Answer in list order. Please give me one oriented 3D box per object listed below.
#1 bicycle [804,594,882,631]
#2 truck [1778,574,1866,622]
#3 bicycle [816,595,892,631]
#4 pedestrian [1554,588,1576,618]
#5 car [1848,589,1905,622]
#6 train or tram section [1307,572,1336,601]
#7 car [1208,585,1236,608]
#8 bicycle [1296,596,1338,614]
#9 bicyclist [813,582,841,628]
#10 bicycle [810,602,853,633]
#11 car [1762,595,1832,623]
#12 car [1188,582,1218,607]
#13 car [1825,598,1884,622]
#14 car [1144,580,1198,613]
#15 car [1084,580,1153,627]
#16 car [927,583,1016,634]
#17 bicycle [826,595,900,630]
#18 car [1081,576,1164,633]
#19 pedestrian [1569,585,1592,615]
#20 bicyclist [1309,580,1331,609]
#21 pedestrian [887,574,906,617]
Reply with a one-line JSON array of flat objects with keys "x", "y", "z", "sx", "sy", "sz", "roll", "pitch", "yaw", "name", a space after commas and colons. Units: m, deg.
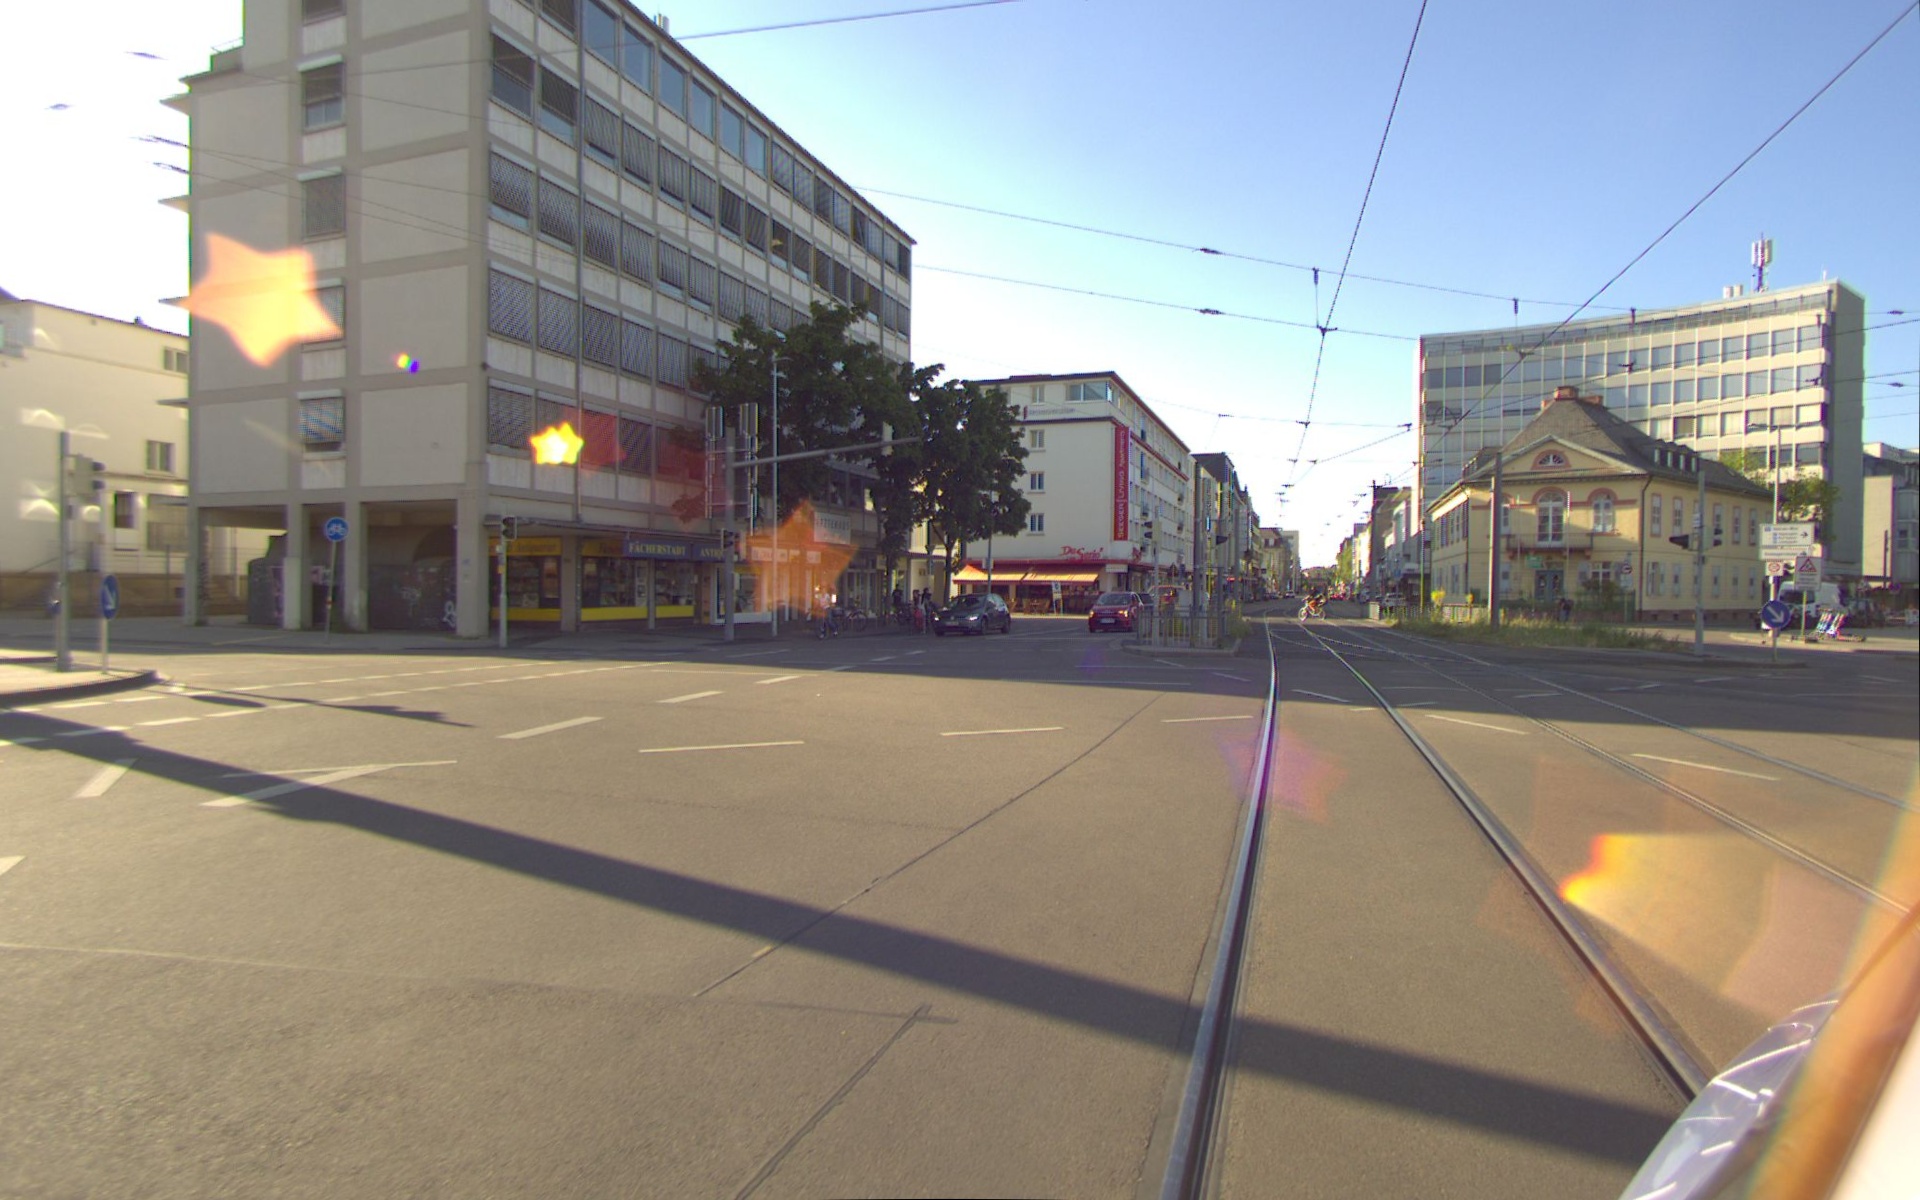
[{"x": -4.132, "y": 0.435, "z": 35.815, "sx": 2.598, "sy": 1.158, "sz": 0.749, "roll": 3, "pitch": -1, "yaw": 10, "name": "bicycle"}, {"x": 48.561, "y": -0.082, "z": 56.979, "sx": 5.529, "sy": 2.581, "sz": 2.302, "roll": 1, "pitch": -1, "yaw": -33, "name": "truck"}, {"x": -3.863, "y": 0.461, "z": 36.981, "sx": 2.598, "sy": 1.158, "sz": 0.749, "roll": 3, "pitch": -1, "yaw": 10, "name": "bicycle"}, {"x": 33.491, "y": 0.173, "z": 56.005, "sx": 0.801, "sy": 1.663, "sz": 0.687, "roll": 1, "pitch": -1, "yaw": -12, "name": "pedestrian"}, {"x": 56.714, "y": 0.358, "z": 62.617, "sx": 3.688, "sy": 2.006, "sz": 1.715, "roll": 1, "pitch": -1, "yaw": -33, "name": "car"}, {"x": 50.701, "y": -1.897, "z": 142.116, "sx": 3.669, "sy": 3.881, "sz": 13.274, "roll": 0, "pitch": 1, "yaw": 20, "name": "train or tram section"}, {"x": 25.214, "y": -0.328, "z": 97.372, "sx": 1.976, "sy": 2.039, "sz": 4.836, "roll": 0, "pitch": -1, "yaw": 22, "name": "car"}, {"x": 18.769, "y": 0.267, "z": 53.259, "sx": 1.984, "sy": 0.960, "sz": 0.713, "roll": 0, "pitch": -1, "yaw": 43, "name": "bicycle"}, {"x": -4.171, "y": 0.154, "z": 31.717, "sx": 0.661, "sy": 1.442, "sz": 0.678, "roll": 0, "pitch": -1, "yaw": 15, "name": "bicyclist"}, {"x": -4.060, "y": 0.541, "z": 32.080, "sx": 0.661, "sy": 0.952, "sz": 2.021, "roll": 0, "pitch": -1, "yaw": 14, "name": "bicycle"}, {"x": 44.210, "y": 0.498, "z": 53.423, "sx": 4.113, "sy": 1.382, "sz": 1.715, "roll": 1, "pitch": -1, "yaw": -33, "name": "car"}, {"x": 21.504, "y": -0.466, "z": 89.447, "sx": 1.976, "sy": 2.039, "sz": 4.836, "roll": 0, "pitch": -1, "yaw": 22, "name": "car"}, {"x": 53.209, "y": 0.594, "z": 60.166, "sx": 3.688, "sy": 1.382, "sz": 1.715, "roll": 1, "pitch": -1, "yaw": -33, "name": "car"}, {"x": 12.739, "y": -0.205, "z": 60.884, "sx": 1.887, "sy": 1.866, "sz": 4.578, "roll": 0, "pitch": -1, "yaw": 29, "name": "car"}, {"x": 5.902, "y": 0.142, "z": 37.360, "sx": 1.821, "sy": 1.638, "sz": 3.973, "roll": 0, "pitch": -1, "yaw": 20, "name": "car"}, {"x": 0.468, "y": 0.301, "z": 35.010, "sx": 1.821, "sy": 1.638, "sz": 4.053, "roll": 0, "pitch": -1, "yaw": 20, "name": "car"}, {"x": -3.646, "y": 0.475, "z": 37.994, "sx": 2.598, "sy": 1.158, "sz": 0.749, "roll": 3, "pitch": -1, "yaw": 10, "name": "bicycle"}, {"x": 5.076, "y": 0.155, "z": 31.219, "sx": 1.821, "sy": 1.638, "sz": 3.973, "roll": 0, "pitch": -1, "yaw": 20, "name": "car"}, {"x": 34.431, "y": 0.012, "z": 56.166, "sx": 0.801, "sy": 1.663, "sz": 0.687, "roll": 1, "pitch": -1, "yaw": -12, "name": "pedestrian"}, {"x": 18.915, "y": -0.297, "z": 53.145, "sx": 0.894, "sy": 1.476, "sz": 0.713, "roll": 0, "pitch": -1, "yaw": 42, "name": "bicyclist"}, {"x": -3.000, "y": -0.214, "z": 47.977, "sx": 0.706, "sy": 2.039, "sz": 0.623, "roll": 0, "pitch": -1, "yaw": 21, "name": "pedestrian"}]
